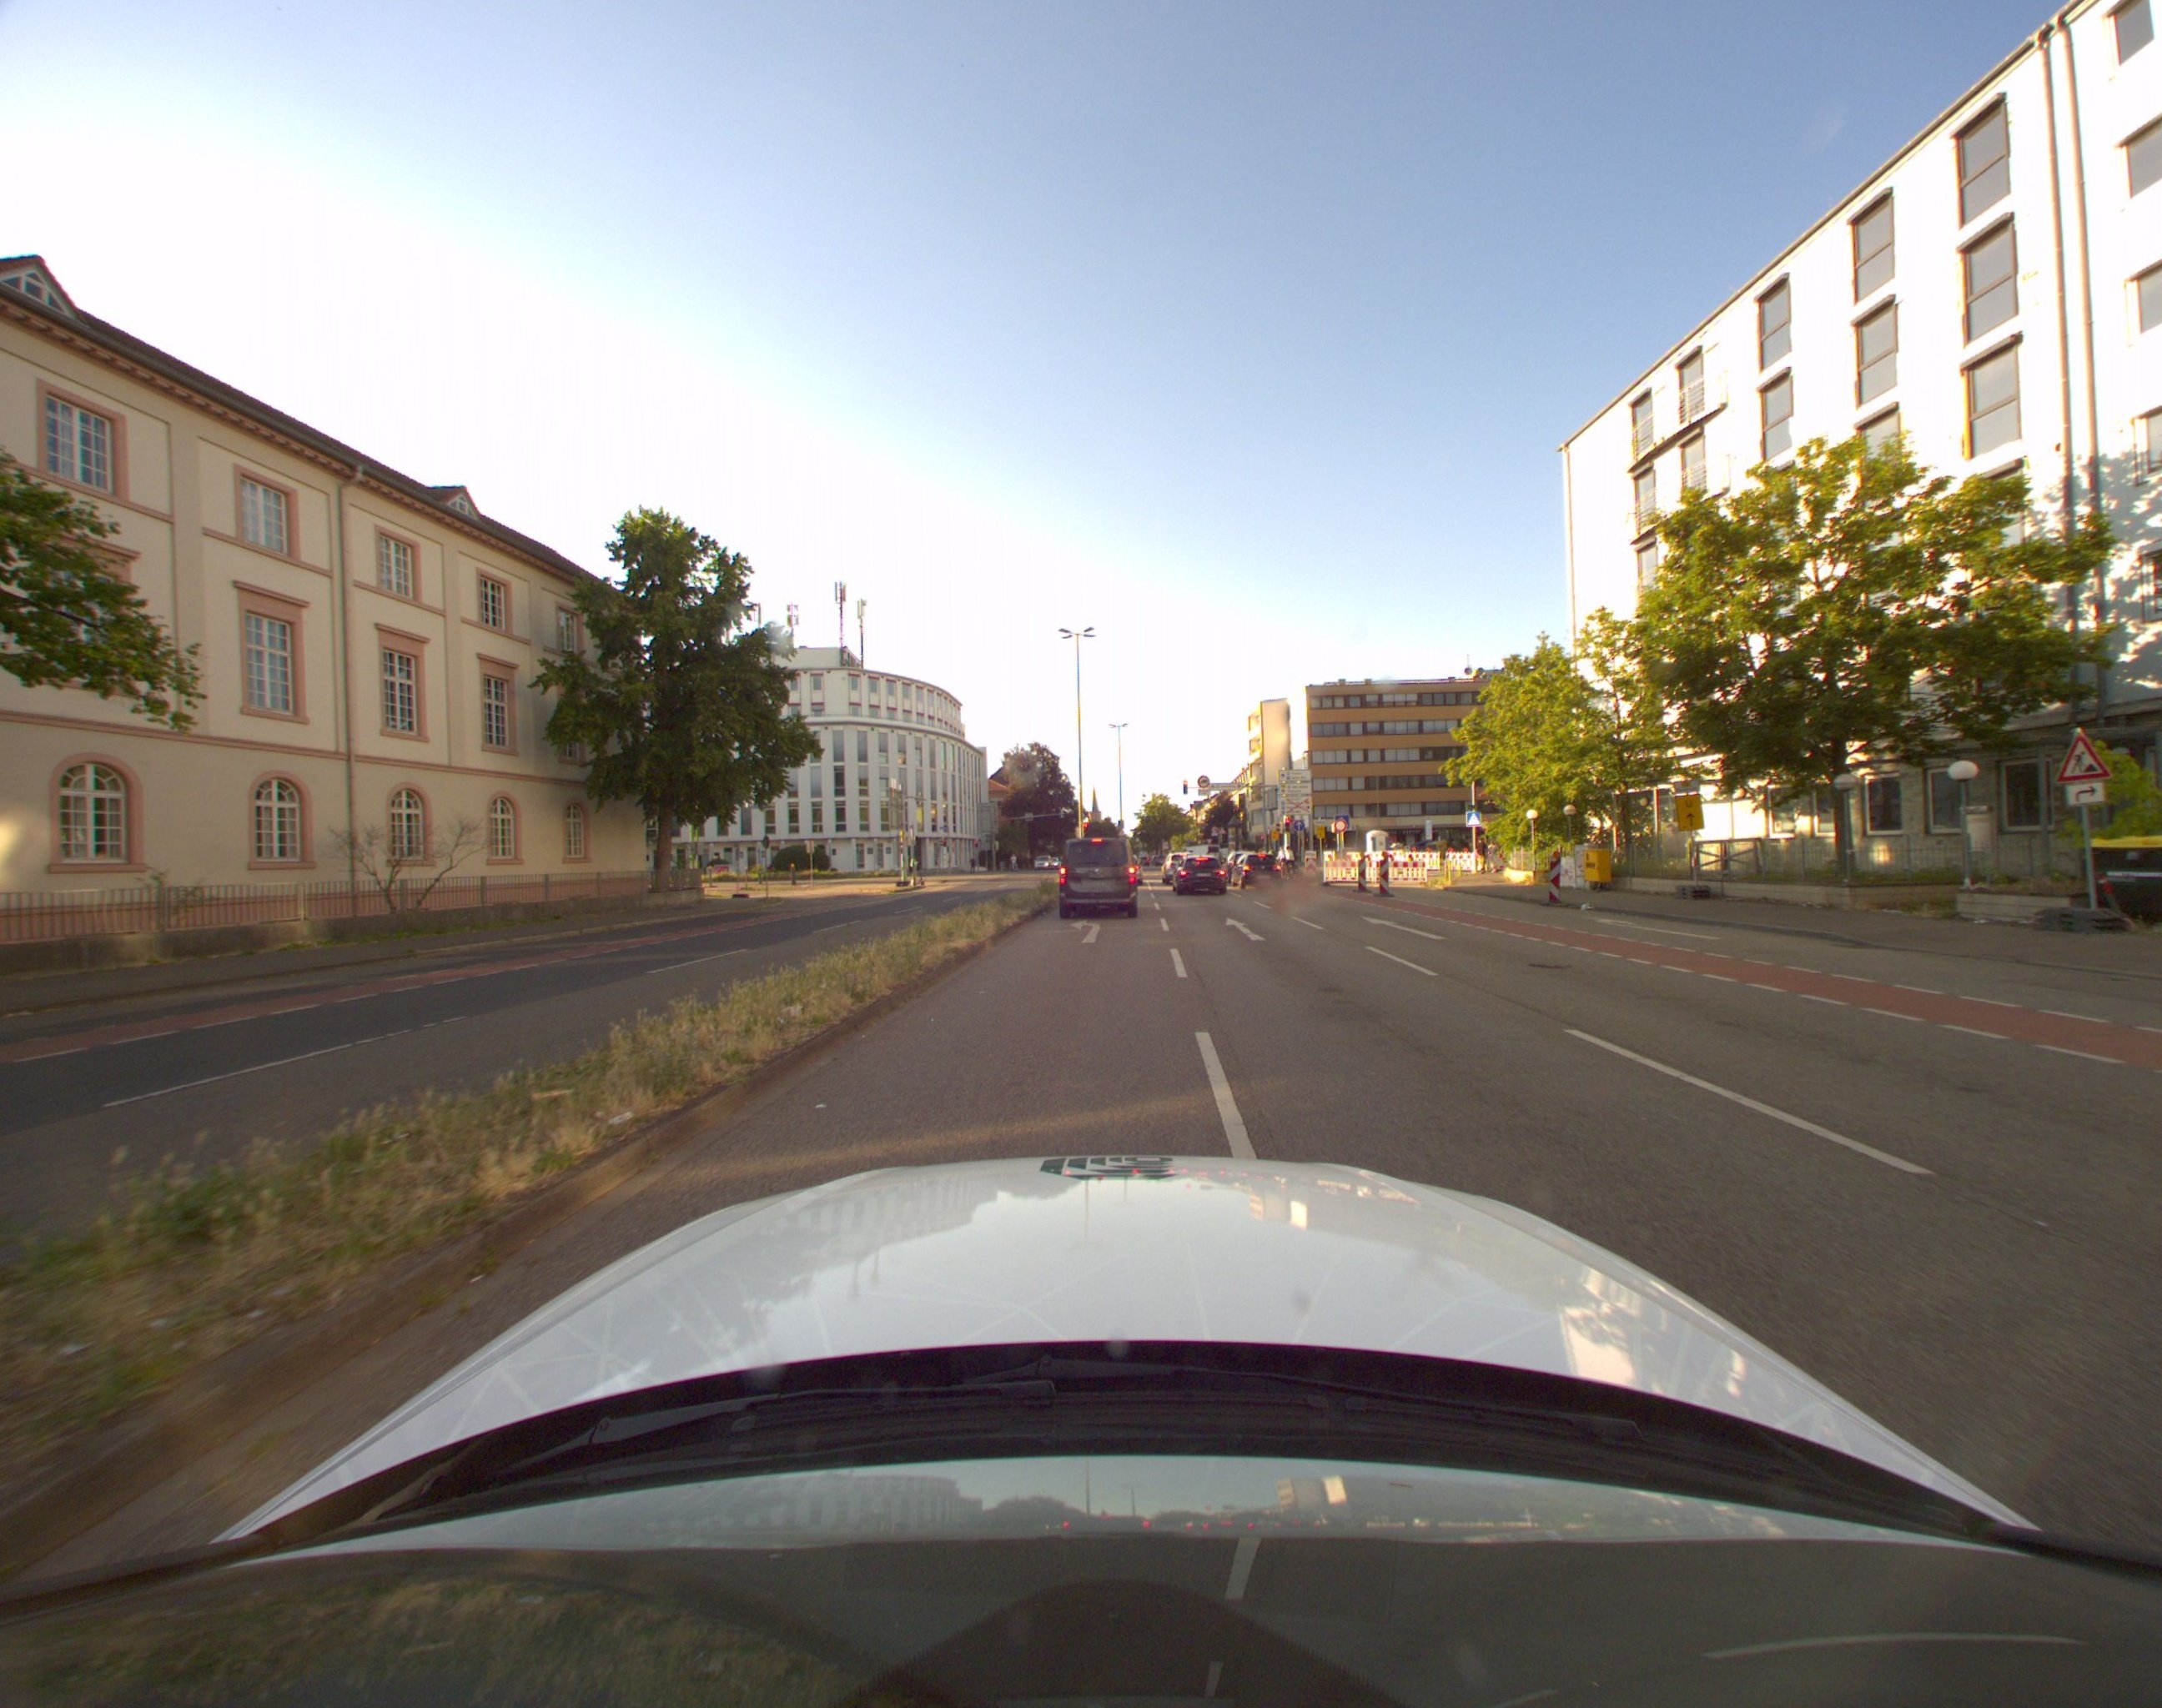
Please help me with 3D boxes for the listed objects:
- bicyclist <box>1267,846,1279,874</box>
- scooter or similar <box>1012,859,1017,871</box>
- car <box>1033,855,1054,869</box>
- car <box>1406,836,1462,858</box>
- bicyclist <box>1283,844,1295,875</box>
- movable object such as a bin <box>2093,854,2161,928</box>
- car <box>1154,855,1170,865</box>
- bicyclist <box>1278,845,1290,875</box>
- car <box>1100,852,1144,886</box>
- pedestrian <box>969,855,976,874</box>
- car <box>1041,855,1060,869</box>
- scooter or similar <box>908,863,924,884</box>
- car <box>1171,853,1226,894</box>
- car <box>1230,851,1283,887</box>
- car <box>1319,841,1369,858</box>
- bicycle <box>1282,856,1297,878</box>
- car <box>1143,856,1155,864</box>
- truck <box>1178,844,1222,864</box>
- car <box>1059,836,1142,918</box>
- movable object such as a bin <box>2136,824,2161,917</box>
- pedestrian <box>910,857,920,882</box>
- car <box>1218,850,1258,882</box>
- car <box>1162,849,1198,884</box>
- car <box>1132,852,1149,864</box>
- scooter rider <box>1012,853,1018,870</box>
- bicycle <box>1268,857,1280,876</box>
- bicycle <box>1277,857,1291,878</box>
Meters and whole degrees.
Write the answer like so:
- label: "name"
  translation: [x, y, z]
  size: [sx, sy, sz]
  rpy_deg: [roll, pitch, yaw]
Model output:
- label: "bicyclist"
  translation: [10.621, 0.320, 45.045]
  size: [0.511, 1.525, 0.726]
  rpy_deg: [-2, 0, 3]
- label: "scooter or similar"
  translation: [-6.844, 1.150, 84.089]
  size: [0.284, 1.188, 1.170]
  rpy_deg: [-2, 0, 3]
- label: "car"
  translation: [-4.027, 0.876, 88.013]
  size: [1.849, 1.420, 4.002]
  rpy_deg: [-2, 0, 2]
- label: "car"
  translation: [31.680, -0.604, 73.184]
  size: [4.198, 1.817, 2.002]
  rpy_deg: [-2, 0, 3]
- label: "bicyclist"
  translation: [10.198, 0.277, 39.900]
  size: [0.439, 1.525, 0.483]
  rpy_deg: [-2, 0, 3]
- label: "movable object such as a bin"
  translation: [15.974, 0.534, 12.098]
  size: [0.848, 1.045, 0.819]
  rpy_deg: [-2, 0, -2]
- label: "car"
  translation: [11.519, 0.875, 115.713]
  size: [1.897, 1.372, 4.002]
  rpy_deg: [-2, 0, 2]
- label: "bicyclist"
  translation: [10.481, 0.295, 42.110]
  size: [0.439, 1.525, 0.726]
  rpy_deg: [-2, 0, 3]
- label: "car"
  translation: [2.000, 0.693, 39.532]
  size: [1.985, 1.530, 4.003]
  rpy_deg: [-2, 0, 3]
- label: "pedestrian"
  translation: [-10.265, 0.978, 77.109]
  size: [0.626, 1.722, 0.669]
  rpy_deg: [-2, 0, -11]
- label: "car"
  translation: [-3.468, 0.919, 93.961]
  size: [1.849, 1.420, 4.002]
  rpy_deg: [-2, 0, 2]
- label: "scooter or similar"
  translation: [-9.770, 1.145, 48.290]
  size: [0.892, 1.234, 0.370]
  rpy_deg: [-2, 0, -8]
- label: "car"
  translation: [4.329, 0.675, 30.493]
  size: [1.674, 1.421, 4.217]
  rpy_deg: [0, 0, 3]
- label: "car"
  translation: [7.406, 0.611, 34.634]
  size: [1.627, 1.449, 3.748]
  rpy_deg: [0, 0, 3]
- label: "car"
  translation: [24.204, -0.427, 74.921]
  size: [3.978, 1.420, 1.786]
  rpy_deg: [-2, 0, -4]
- label: "bicycle"
  translation: [10.214, 0.629, 39.897]
  size: [0.335, 1.008, 1.857]
  rpy_deg: [-2, 0, 3]
- label: "car"
  translation: [12.641, 1.193, 151.867]
  size: [1.897, 1.372, 4.002]
  rpy_deg: [-2, 0, 2]
- label: "truck"
  translation: [12.987, 0.036, 88.856]
  size: [2.144, 2.086, 4.581]
  rpy_deg: [-2, 0, -35]
- label: "car"
  translation: [0.570, 0.531, 20.913]
  size: [1.899, 1.863, 4.530]
  rpy_deg: [0, 0, 3]
- label: "movable object such as a bin"
  translation: [17.600, 0.238, 12.507]
  size: [1.344, 1.461, 1.105]
  rpy_deg: [-2, 0, -2]
- label: "pedestrian"
  translation: [-9.862, 0.917, 48.405]
  size: [0.474, 1.505, 0.334]
  rpy_deg: [-2, 0, -9]
- label: "car"
  translation: [7.729, 0.555, 40.266]
  size: [1.498, 1.449, 3.308]
  rpy_deg: [-2, 0, 3]
- label: "car"
  translation: [4.797, 0.579, 39.928]
  size: [1.522, 1.613, 3.748]
  rpy_deg: [0, 0, 3]
- label: "car"
  translation: [8.651, 0.585, 118.885]
  size: [1.988, 1.662, 3.997]
  rpy_deg: [-2, 0, -2]
- label: "scooter rider"
  translation: [-6.814, 0.802, 84.163]
  size: [0.479, 1.697, 0.637]
  rpy_deg: [-2, 0, 3]
- label: "bicycle"
  translation: [10.650, 0.673, 44.995]
  size: [0.335, 1.008, 1.857]
  rpy_deg: [-2, 0, 3]
- label: "bicycle"
  translation: [10.481, 0.680, 42.027]
  size: [0.335, 1.008, 1.857]
  rpy_deg: [-2, 0, 3]
